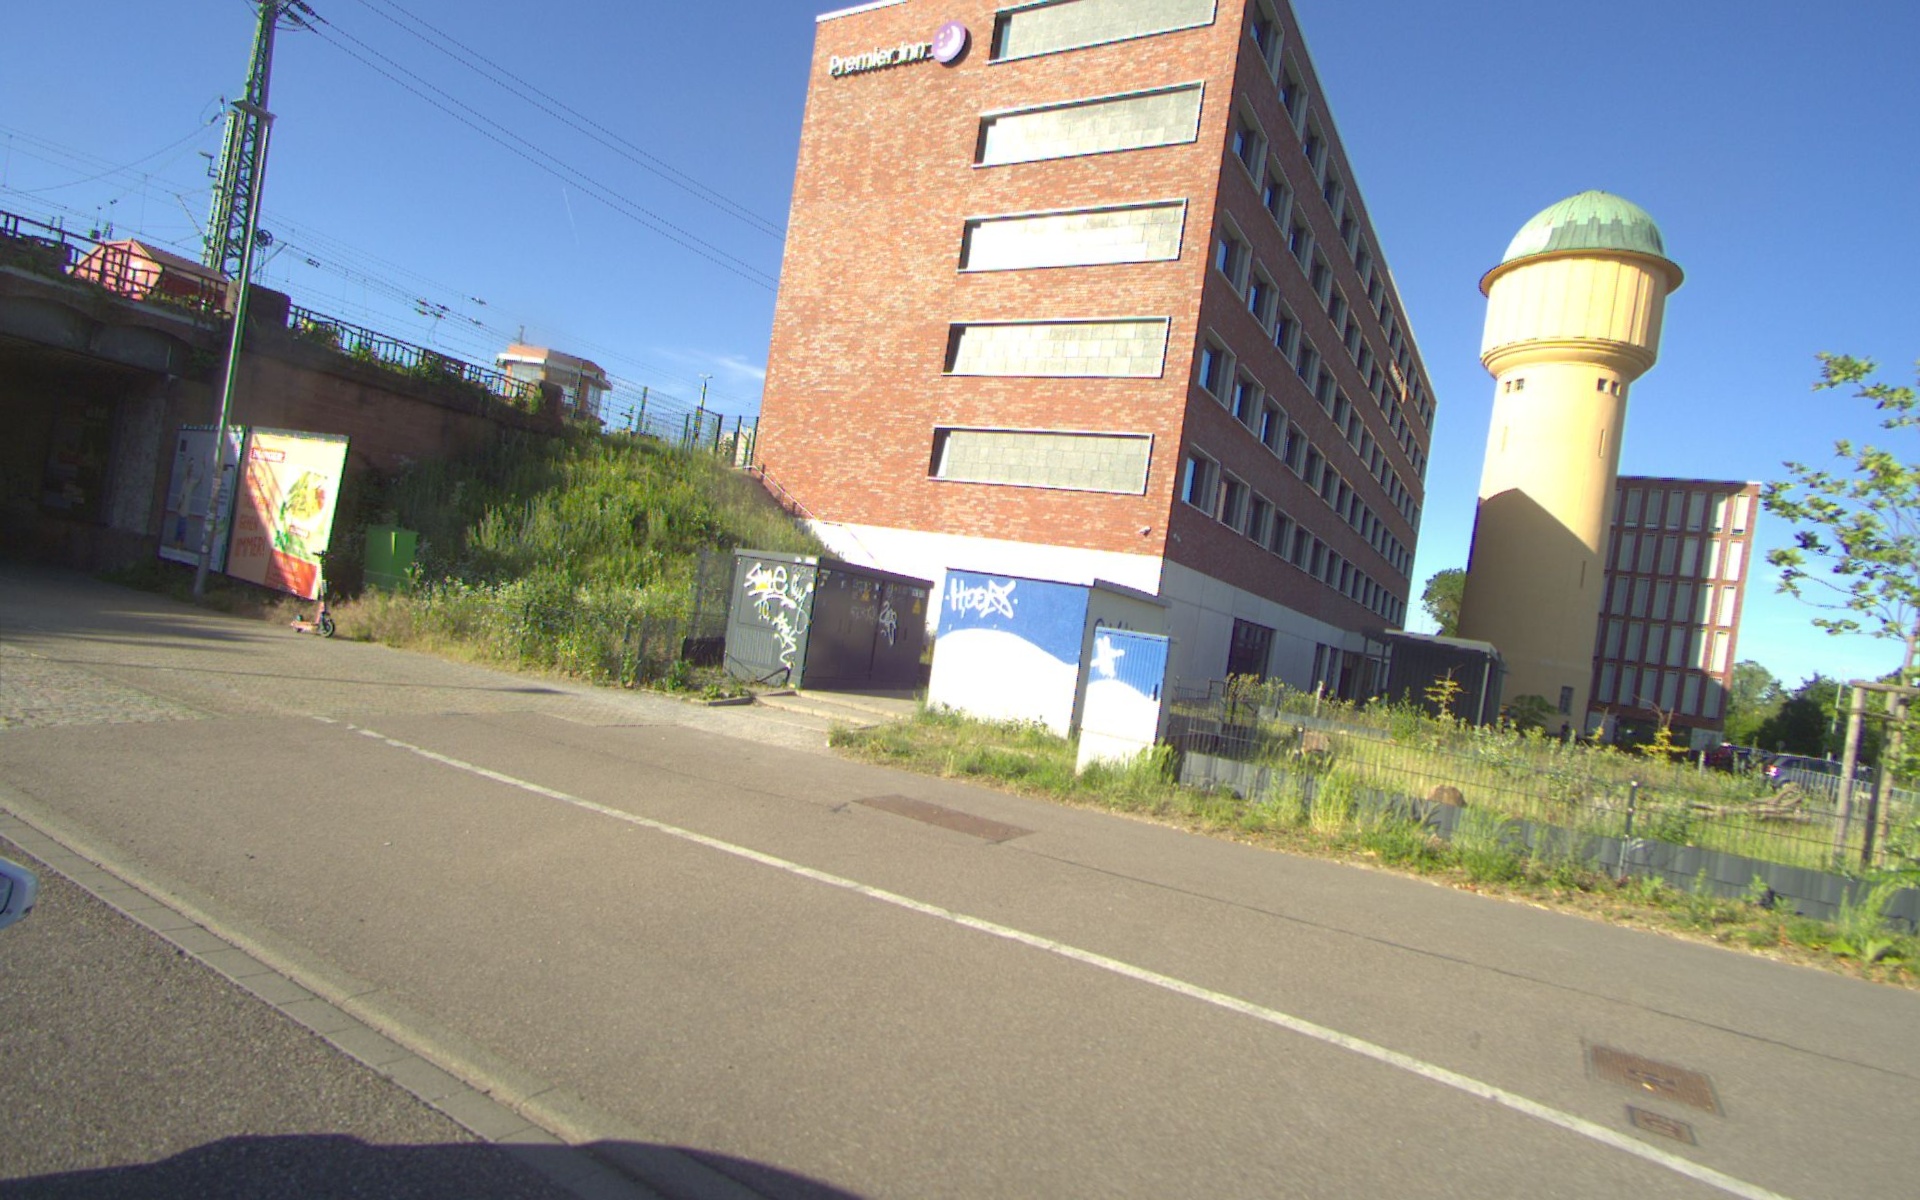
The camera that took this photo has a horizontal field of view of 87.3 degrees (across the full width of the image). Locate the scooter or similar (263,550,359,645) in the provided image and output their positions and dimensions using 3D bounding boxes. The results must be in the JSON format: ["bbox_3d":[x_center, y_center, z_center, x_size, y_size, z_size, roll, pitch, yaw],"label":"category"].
[{"bbox_3d":[-9.417,-0.045,14.592,1.269,1.210,0.538,7,-2,32],"label":"scooter or similar"}]

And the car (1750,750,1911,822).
[{"bbox_3d":[33.808,7.183,39.239,4.259,1.849,1.999,8,-2,30],"label":"car"}]

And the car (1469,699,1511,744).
[{"bbox_3d":[31.518,7.196,59.756,1.837,2.289,4.935,8,-2,30],"label":"car"}]

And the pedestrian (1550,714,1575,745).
[{"bbox_3d":[39.642,8.502,66.173,0.879,1.885,0.973,7,-1,7],"label":"pedestrian"}]

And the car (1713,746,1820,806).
[{"bbox_3d":[37.510,8.140,46.905,3.425,2.044,1.835,8,-2,30],"label":"car"}]

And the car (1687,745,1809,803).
[{"bbox_3d":[40.128,8.835,51.384,4.456,2.036,1.998,8,-2,31],"label":"car"}]

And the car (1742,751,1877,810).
[{"bbox_3d":[35.339,7.478,41.981,3.935,1.567,1.832,8,-2,33],"label":"car"}]
